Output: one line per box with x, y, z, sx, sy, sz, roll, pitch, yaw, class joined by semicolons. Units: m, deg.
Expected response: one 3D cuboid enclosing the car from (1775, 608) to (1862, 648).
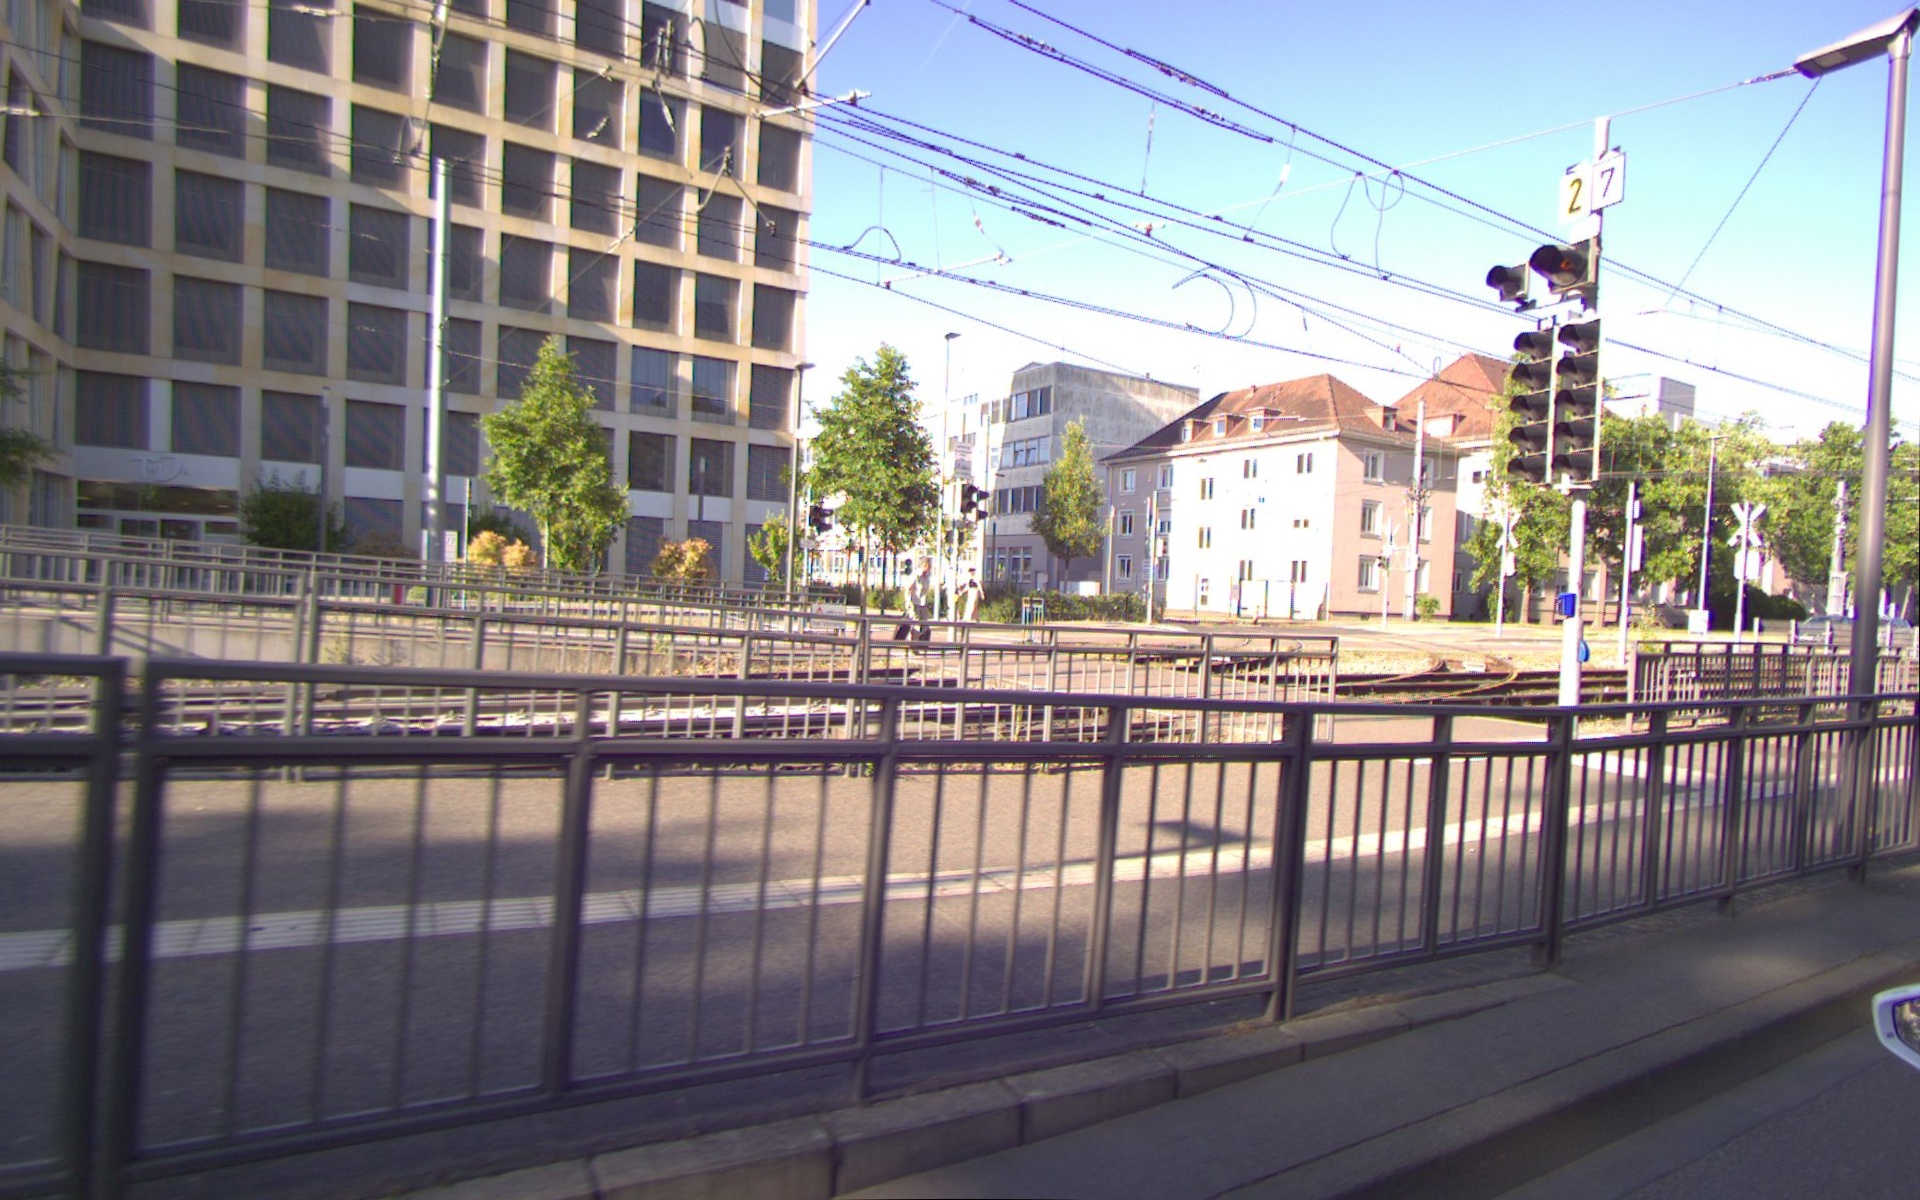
38.665;1.268;45.225;3.954;1.568;1.730;2;2;-31;car

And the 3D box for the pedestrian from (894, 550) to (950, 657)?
-0.644;0.051;16.909;0.713;1.740;0.668;2;2;-19;pedestrian

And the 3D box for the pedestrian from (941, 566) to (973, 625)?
-0.080;-0.135;30.631;0.664;1.740;0.660;1;2;-32;pedestrian

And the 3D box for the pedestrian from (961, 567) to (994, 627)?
0.532;-0.096;30.202;0.664;1.740;0.660;1;2;-32;pedestrian
